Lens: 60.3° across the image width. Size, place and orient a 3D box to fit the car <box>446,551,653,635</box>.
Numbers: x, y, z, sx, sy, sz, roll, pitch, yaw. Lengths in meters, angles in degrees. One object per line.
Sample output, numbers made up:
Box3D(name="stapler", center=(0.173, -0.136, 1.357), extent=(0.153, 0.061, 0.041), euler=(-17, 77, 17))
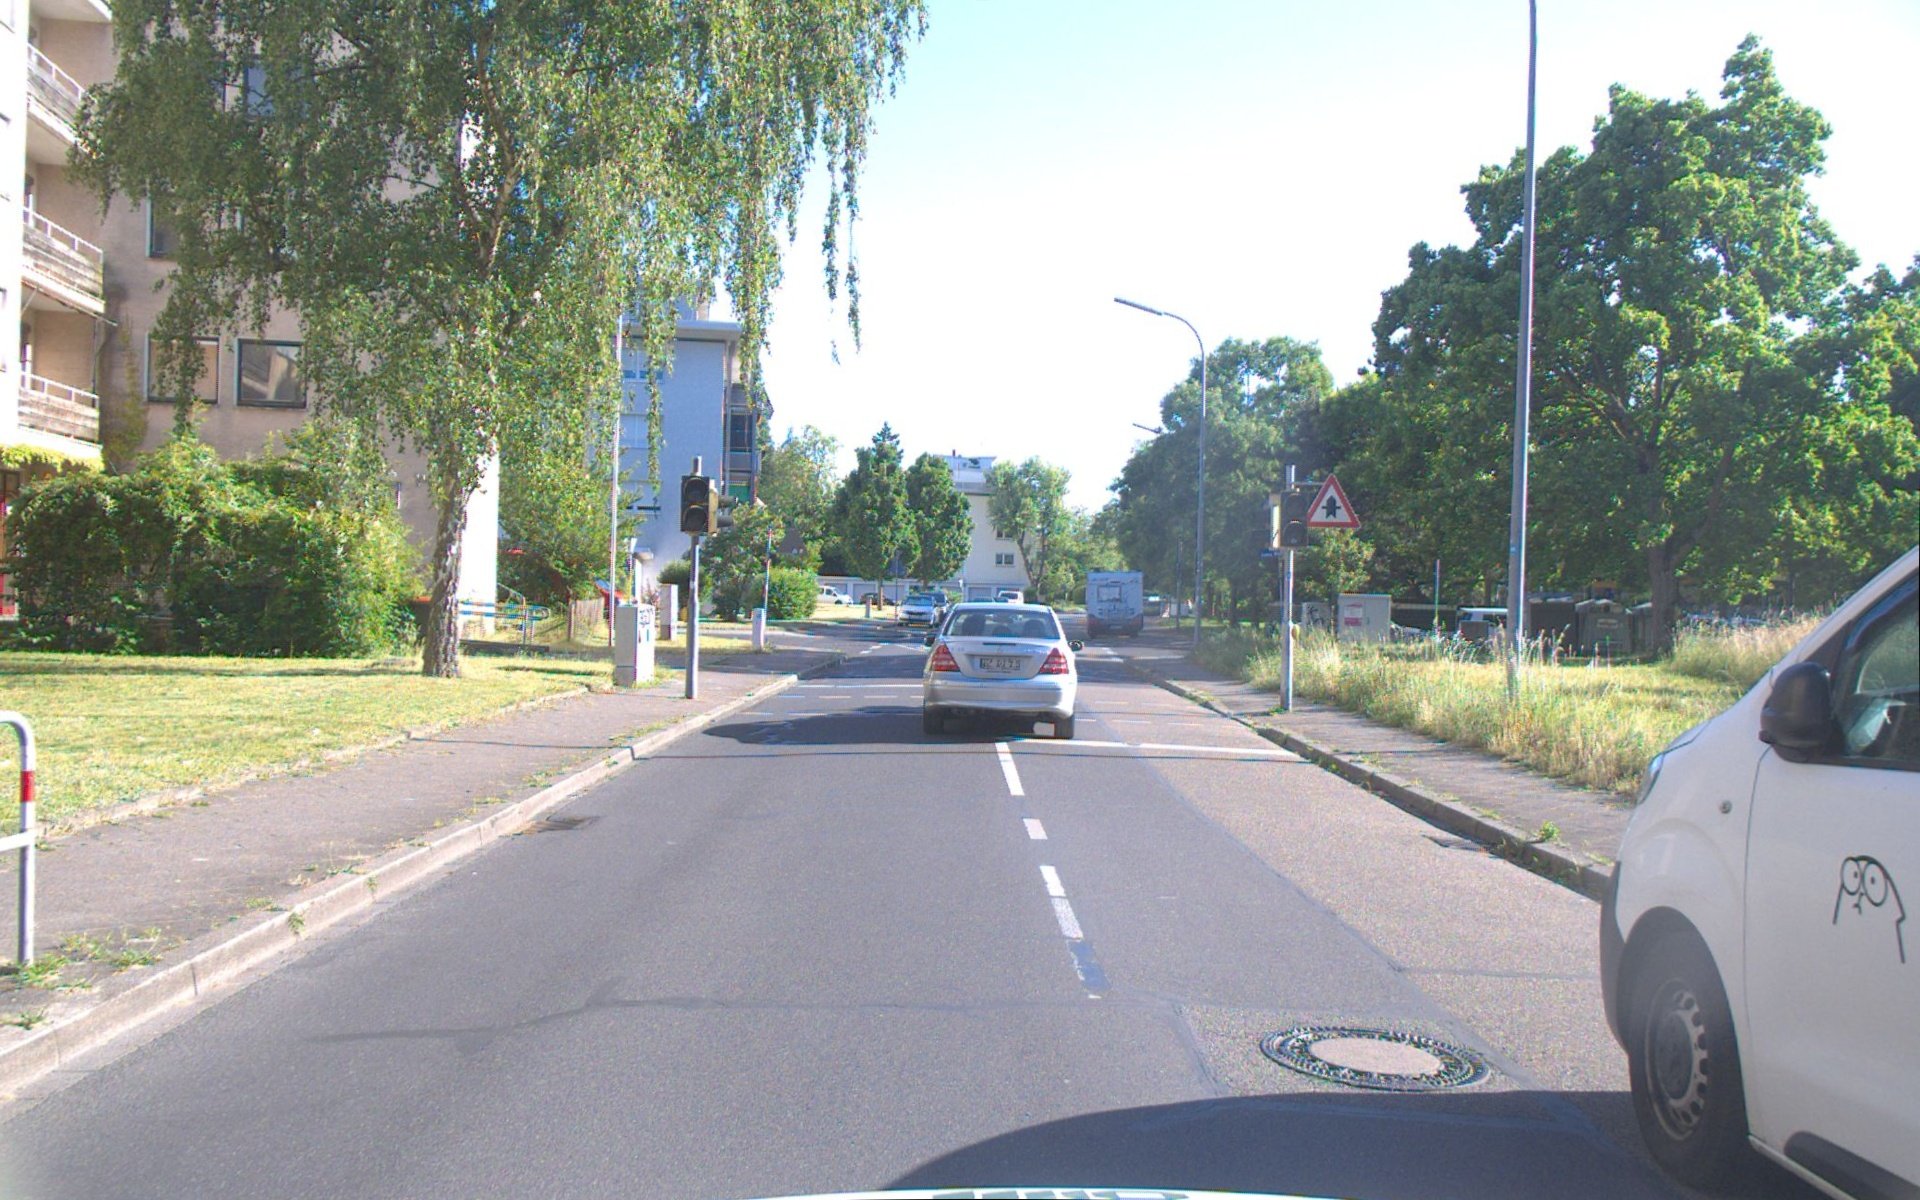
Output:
Box3D(name="car", center=(-12.574, -0.257, 50.962), extent=(5.782, 2.471, 2.214), euler=(1, 1, 1))

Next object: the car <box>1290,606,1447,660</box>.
Box3D(name="car", center=(12.133, 0.977, 49.331), extent=(4.331, 1.360, 1.747), euler=(2, 2, 6))

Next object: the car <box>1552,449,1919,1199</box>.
Box3D(name="car", center=(2.971, 0.673, 3.001), extent=(1.877, 1.904, 4.864), euler=(3, 0, -2))

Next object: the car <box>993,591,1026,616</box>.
Box3D(name="car", center=(3.945, 0.288, 131.832), extent=(1.972, 1.918, 5.194), euler=(3, 0, 8))

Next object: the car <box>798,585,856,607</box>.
Box3D(name="car", center=(-12.524, -0.336, 156.334), extent=(4.997, 1.985, 2.239), euler=(1, 0, 15))

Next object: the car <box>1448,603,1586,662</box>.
Box3D(name="car", center=(16.423, 0.942, 48.904), extent=(3.606, 1.605, 1.830), euler=(1, 0, 9))

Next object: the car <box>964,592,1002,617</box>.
Box3D(name="car", center=(1.584, 0.315, 112.642), extent=(1.992, 1.518, 5.260), euler=(4, 1, 7))

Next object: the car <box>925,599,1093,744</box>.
Box3D(name="car", center=(0.514, 0.734, 18.715), extent=(1.697, 1.459, 3.438), euler=(1, 0, 0))

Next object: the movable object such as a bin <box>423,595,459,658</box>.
Box3D(name="movable object such as a bin", center=(-8.918, 0.455, 28.420), extent=(0.555, 1.072, 0.553), euler=(1, 0, -21))

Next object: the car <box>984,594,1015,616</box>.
Box3D(name="car", center=(3.028, 0.374, 125.315), extent=(1.794, 1.544, 4.225), euler=(3, 0, 8))

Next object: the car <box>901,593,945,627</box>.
Box3D(name="car", center=(-1.706, 0.431, 77.689), extent=(1.612, 1.492, 4.333), euler=(2, 0, 5))

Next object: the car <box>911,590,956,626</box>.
Box3D(name="car", center=(-1.310, 0.366, 83.968), extent=(1.874, 1.631, 4.814), euler=(4, 1, 3))

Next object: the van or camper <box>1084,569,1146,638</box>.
Box3D(name="van or camper", center=(6.332, 0.129, 68.235), extent=(2.302, 2.642, 6.429), euler=(-2, 0, 4))
